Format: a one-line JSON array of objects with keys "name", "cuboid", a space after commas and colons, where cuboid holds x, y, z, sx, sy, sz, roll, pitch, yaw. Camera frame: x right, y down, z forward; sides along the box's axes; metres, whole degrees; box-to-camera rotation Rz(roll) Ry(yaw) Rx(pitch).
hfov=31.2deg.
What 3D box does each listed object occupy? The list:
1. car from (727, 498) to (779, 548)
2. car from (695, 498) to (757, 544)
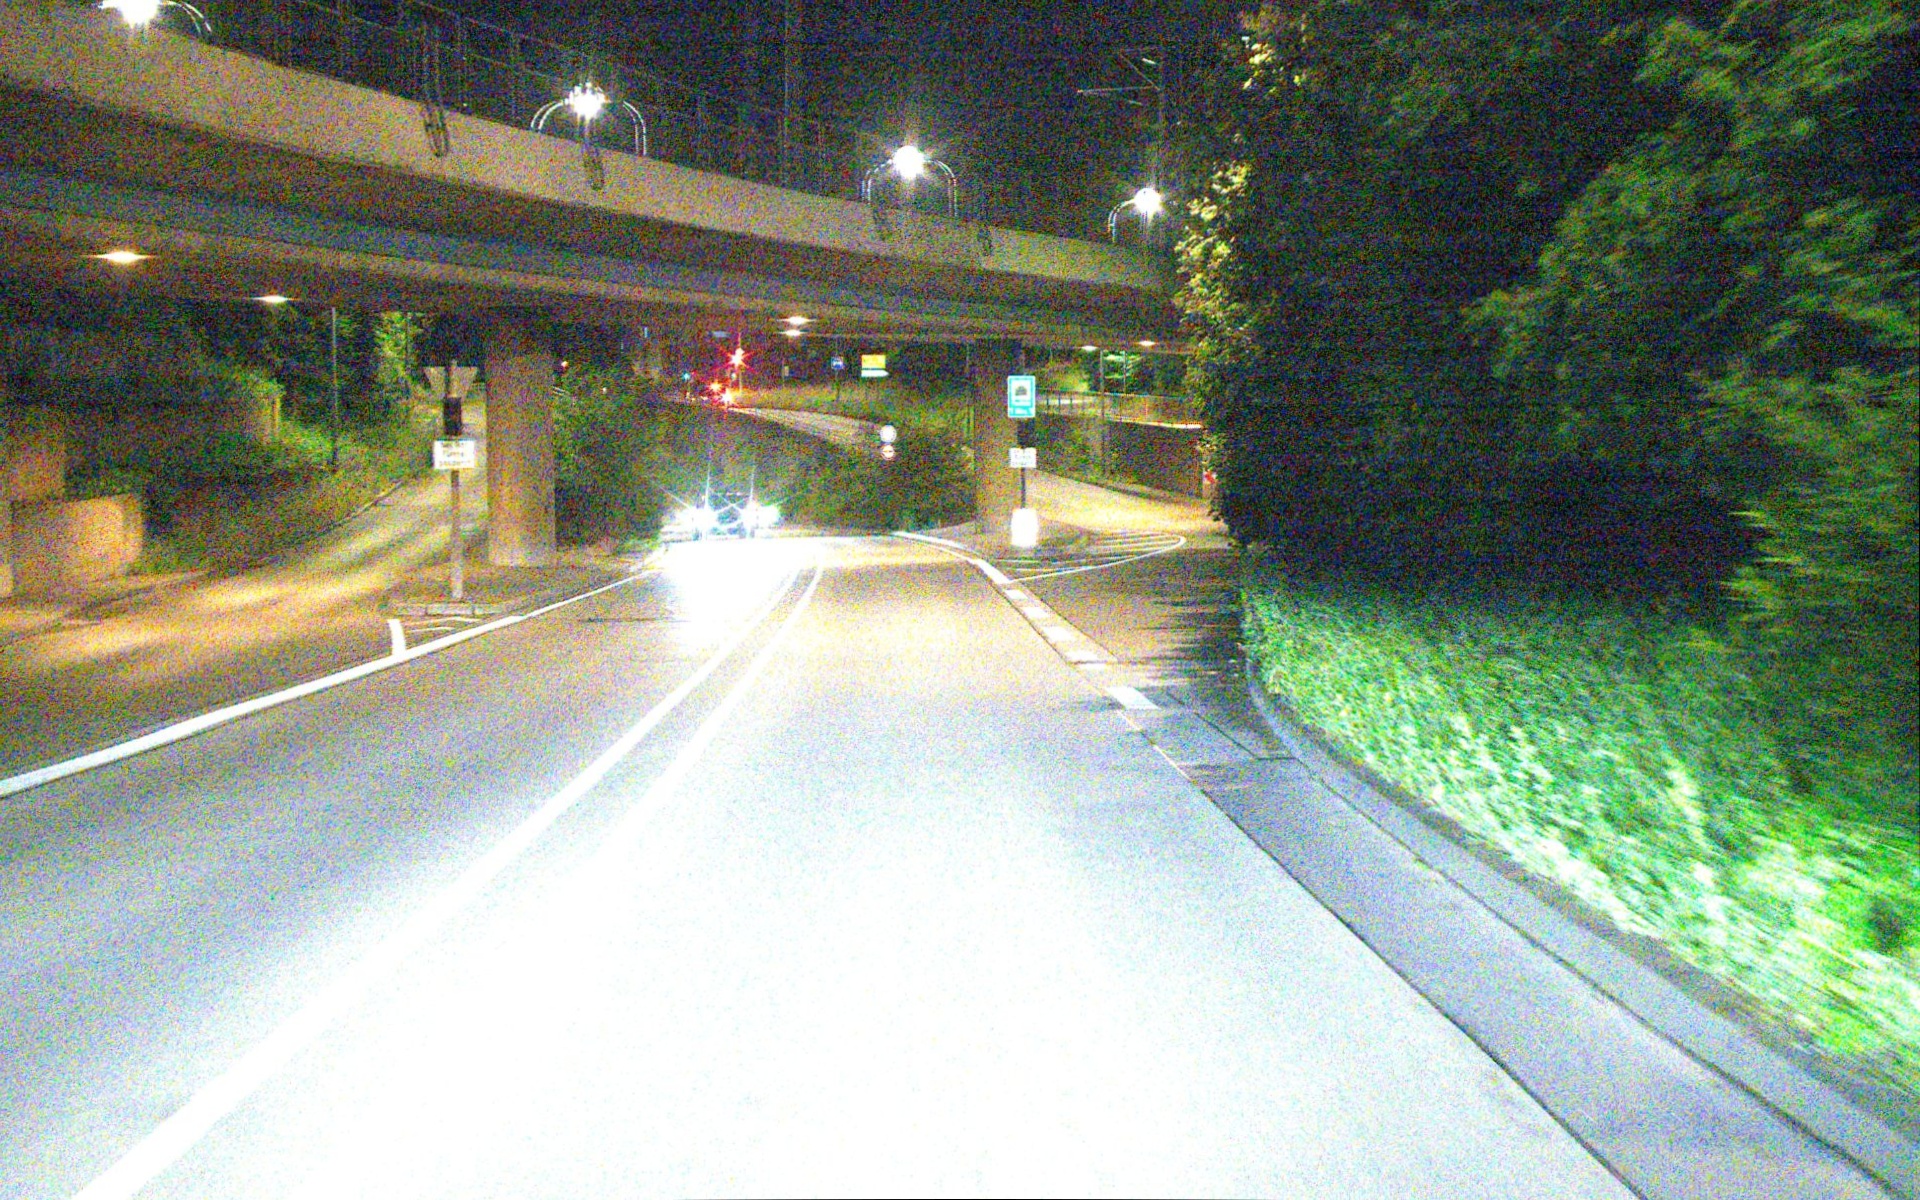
[{"name": "car", "cuboid": [-8.887, -3.295, 147.462, 1.918, 2.007, 4.123, 2, 0, -7]}, {"name": "car", "cuboid": [-8.149, -2.732, 119.529, 1.881, 1.549, 4.219, -2, 1, -7]}]
